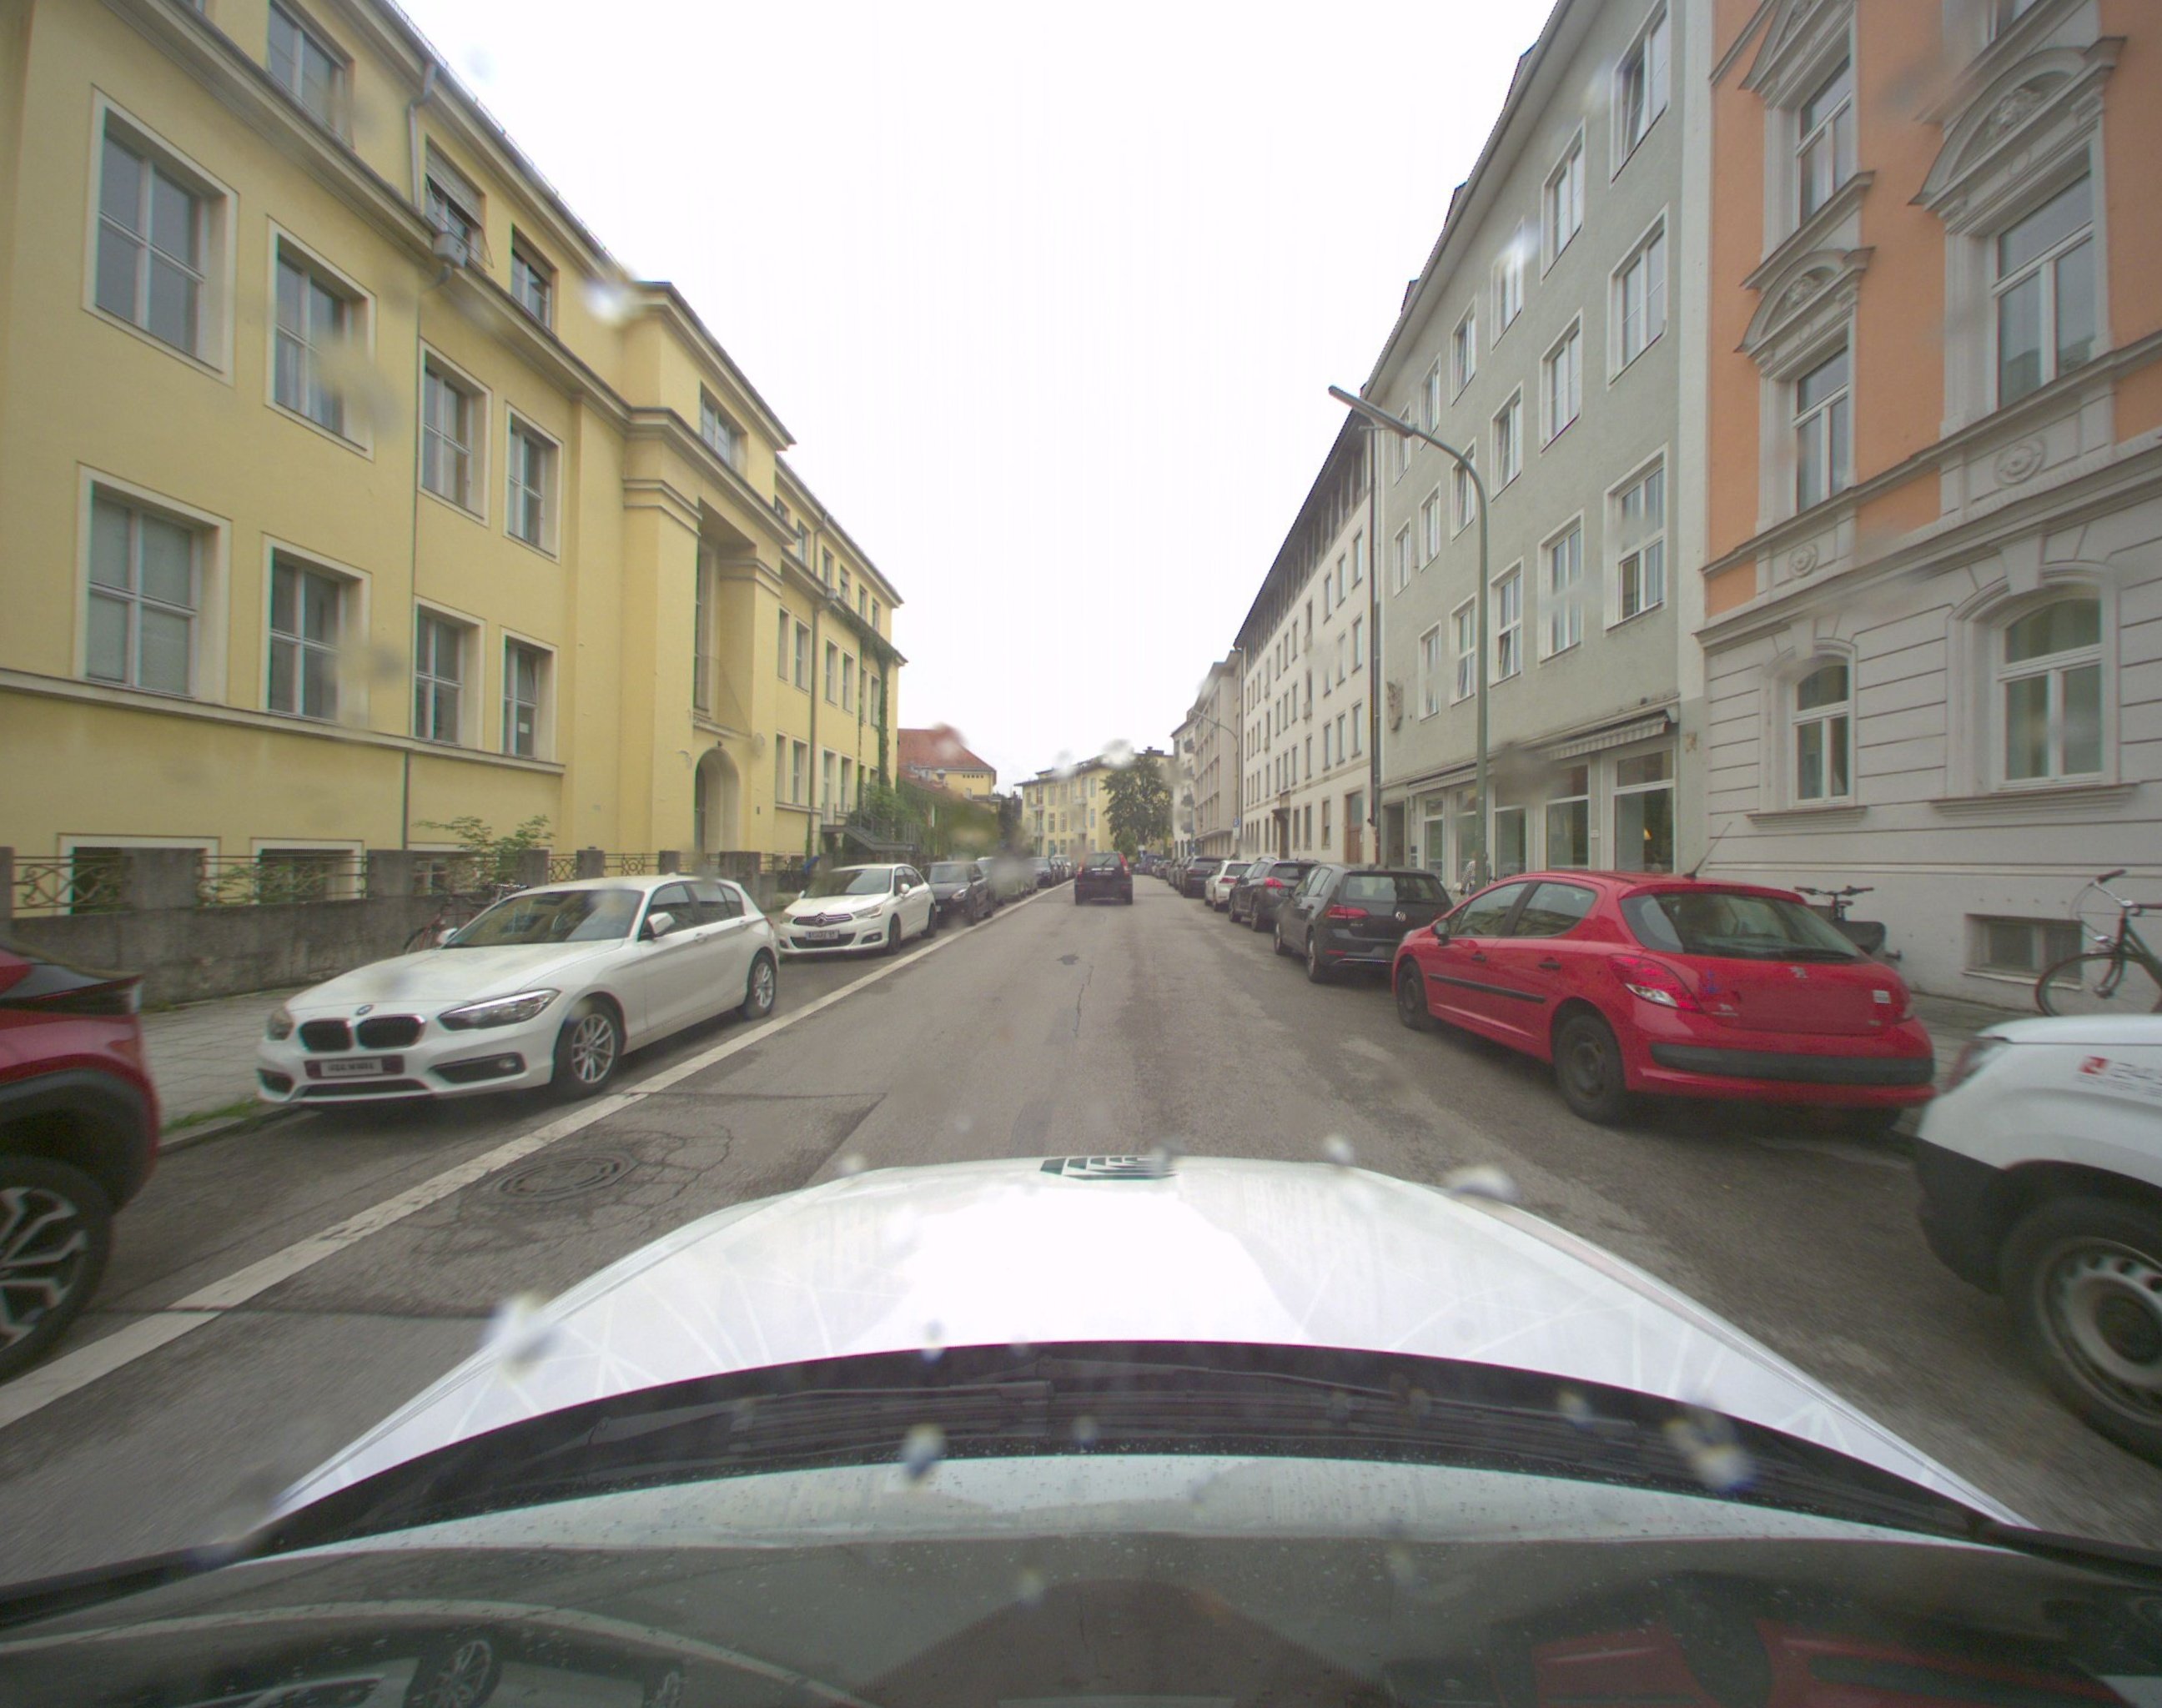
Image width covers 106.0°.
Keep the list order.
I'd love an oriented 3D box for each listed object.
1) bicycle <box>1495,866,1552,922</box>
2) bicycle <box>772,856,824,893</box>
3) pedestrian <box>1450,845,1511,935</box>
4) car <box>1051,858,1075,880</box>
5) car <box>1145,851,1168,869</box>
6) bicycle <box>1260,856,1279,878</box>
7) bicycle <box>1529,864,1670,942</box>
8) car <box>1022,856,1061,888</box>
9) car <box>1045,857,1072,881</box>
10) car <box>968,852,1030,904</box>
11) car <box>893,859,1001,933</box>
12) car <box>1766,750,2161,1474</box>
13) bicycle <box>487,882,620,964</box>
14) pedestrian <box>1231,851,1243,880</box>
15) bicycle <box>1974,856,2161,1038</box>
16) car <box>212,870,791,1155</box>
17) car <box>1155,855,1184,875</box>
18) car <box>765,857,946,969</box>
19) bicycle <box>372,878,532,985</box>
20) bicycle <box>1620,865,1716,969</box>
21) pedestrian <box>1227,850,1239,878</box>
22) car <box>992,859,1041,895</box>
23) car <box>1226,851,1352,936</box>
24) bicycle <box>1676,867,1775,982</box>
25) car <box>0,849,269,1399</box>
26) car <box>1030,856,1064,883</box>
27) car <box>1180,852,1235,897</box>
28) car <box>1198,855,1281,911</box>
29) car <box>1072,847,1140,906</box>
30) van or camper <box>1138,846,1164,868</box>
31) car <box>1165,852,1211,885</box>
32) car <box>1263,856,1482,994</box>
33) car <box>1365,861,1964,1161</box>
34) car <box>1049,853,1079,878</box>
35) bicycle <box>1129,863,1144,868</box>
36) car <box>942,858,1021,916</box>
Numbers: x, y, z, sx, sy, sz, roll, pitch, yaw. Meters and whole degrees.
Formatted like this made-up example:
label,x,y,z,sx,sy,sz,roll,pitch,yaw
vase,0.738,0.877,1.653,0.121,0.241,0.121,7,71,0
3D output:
label,x,y,z,sx,sy,sz,roll,pitch,yaw
bicycle,8.605,0.750,15.883,0.329,1.004,1.523,-1,0,3
bicycle,-9.794,0.701,28.210,1.551,1.189,0.579,2,0,1
pedestrian,7.467,0.651,15.253,0.731,1.625,0.829,-2,0,3
car,-1.282,1.047,58.717,1.573,1.492,3.730,-2,0,1
car,7.765,0.609,83.774,1.958,1.816,4.935,-1,0,0
bicycle,9.985,0.663,43.210,0.656,1.126,2.029,-1,0,3
bicycle,8.089,0.709,12.867,0.766,1.075,2.460,-1,0,3
car,-2.041,0.917,42.751,1.775,1.538,4.196,0,0,1
car,-1.468,0.951,53.479,1.573,1.455,3.905,-2,0,1
car,-2.875,0.802,29.485,1.674,1.634,4.357,-3,0,1
car,-3.079,0.916,19.506,1.673,1.495,3.988,-3,0,2
car,3.540,0.667,0.755,1.833,1.786,4.898,2,0,3
bicycle,-7.956,1.000,12.388,0.581,1.077,1.724,2,0,15
pedestrian,8.821,0.637,46.064,0.529,1.584,0.560,-2,0,3
bicycle,7.664,0.645,5.701,0.648,1.183,2.098,-2,1,5
car,-3.921,0.917,6.511,1.669,1.398,3.997,-3,0,0
car,6.716,0.816,62.225,1.789,1.420,4.483,-2,0,1
car,-3.683,0.886,14.116,1.716,1.527,4.091,-3,0,3
bicycle,-8.058,0.949,10.542,0.583,1.197,1.720,2,0,6
bicycle,7.601,0.757,10.503,2.107,1.183,0.602,-1,0,-43
pedestrian,9.041,0.597,48.426,0.594,1.654,0.631,-2,0,3
car,-2.728,0.942,35.062,1.674,1.426,3.895,-2,0,1
car,4.365,0.767,17.684,1.686,1.583,4.083,2,0,1
bicycle,7.615,0.763,9.577,2.107,1.183,0.602,-1,0,-43
car,-3.960,0.816,1.073,1.669,1.566,3.997,-3,0,0
car,-2.003,0.902,48.602,1.775,1.538,4.149,0,0,1
car,4.760,0.715,31.093,1.770,1.584,4.335,0,0,5
car,4.584,0.781,24.086,1.686,1.464,4.083,2,0,1
car,0.895,0.669,26.508,1.986,1.694,4.385,-2,0,4
van or camper,7.644,0.350,89.516,2.056,2.231,5.431,-2,0,-3
car,5.386,0.691,41.413,1.848,1.544,4.819,-2,0,2
car,3.669,0.790,11.017,1.685,1.451,4.087,2,0,4
car,3.753,0.828,6.334,1.593,1.451,4.302,2,0,1
car,-1.307,0.900,64.241,1.985,1.875,4.763,-1,0,4
bicycle,8.556,1.747,125.874,2.193,0.779,0.613,0,-1,15
car,-2.941,0.931,24.834,1.673,1.505,3.976,-3,0,2
